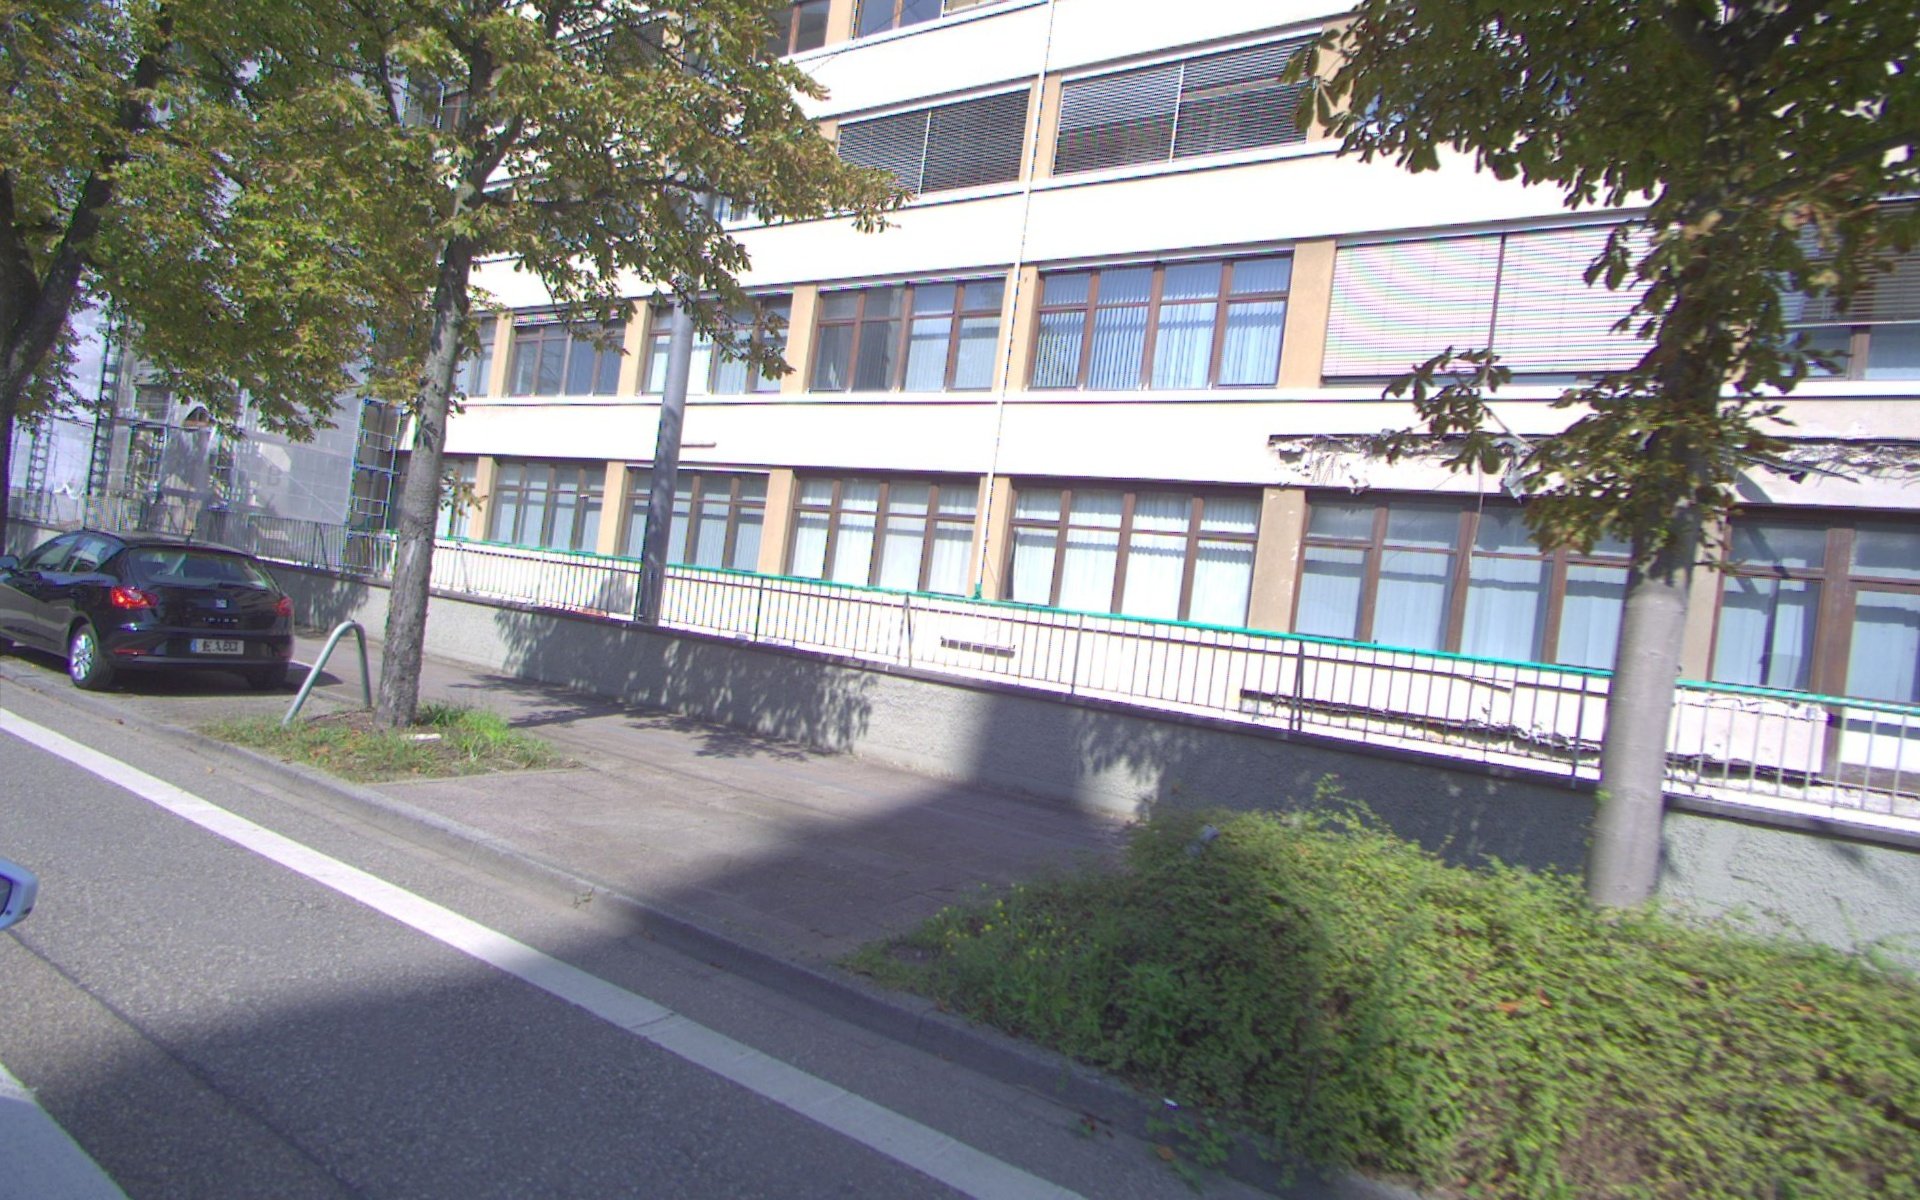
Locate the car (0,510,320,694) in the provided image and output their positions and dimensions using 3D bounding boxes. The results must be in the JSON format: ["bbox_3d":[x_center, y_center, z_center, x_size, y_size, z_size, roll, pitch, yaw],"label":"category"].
[{"bbox_3d":[-8.630,-0.044,10.435,4.147,1.424,1.662,6,-1,32],"label":"car"}]
